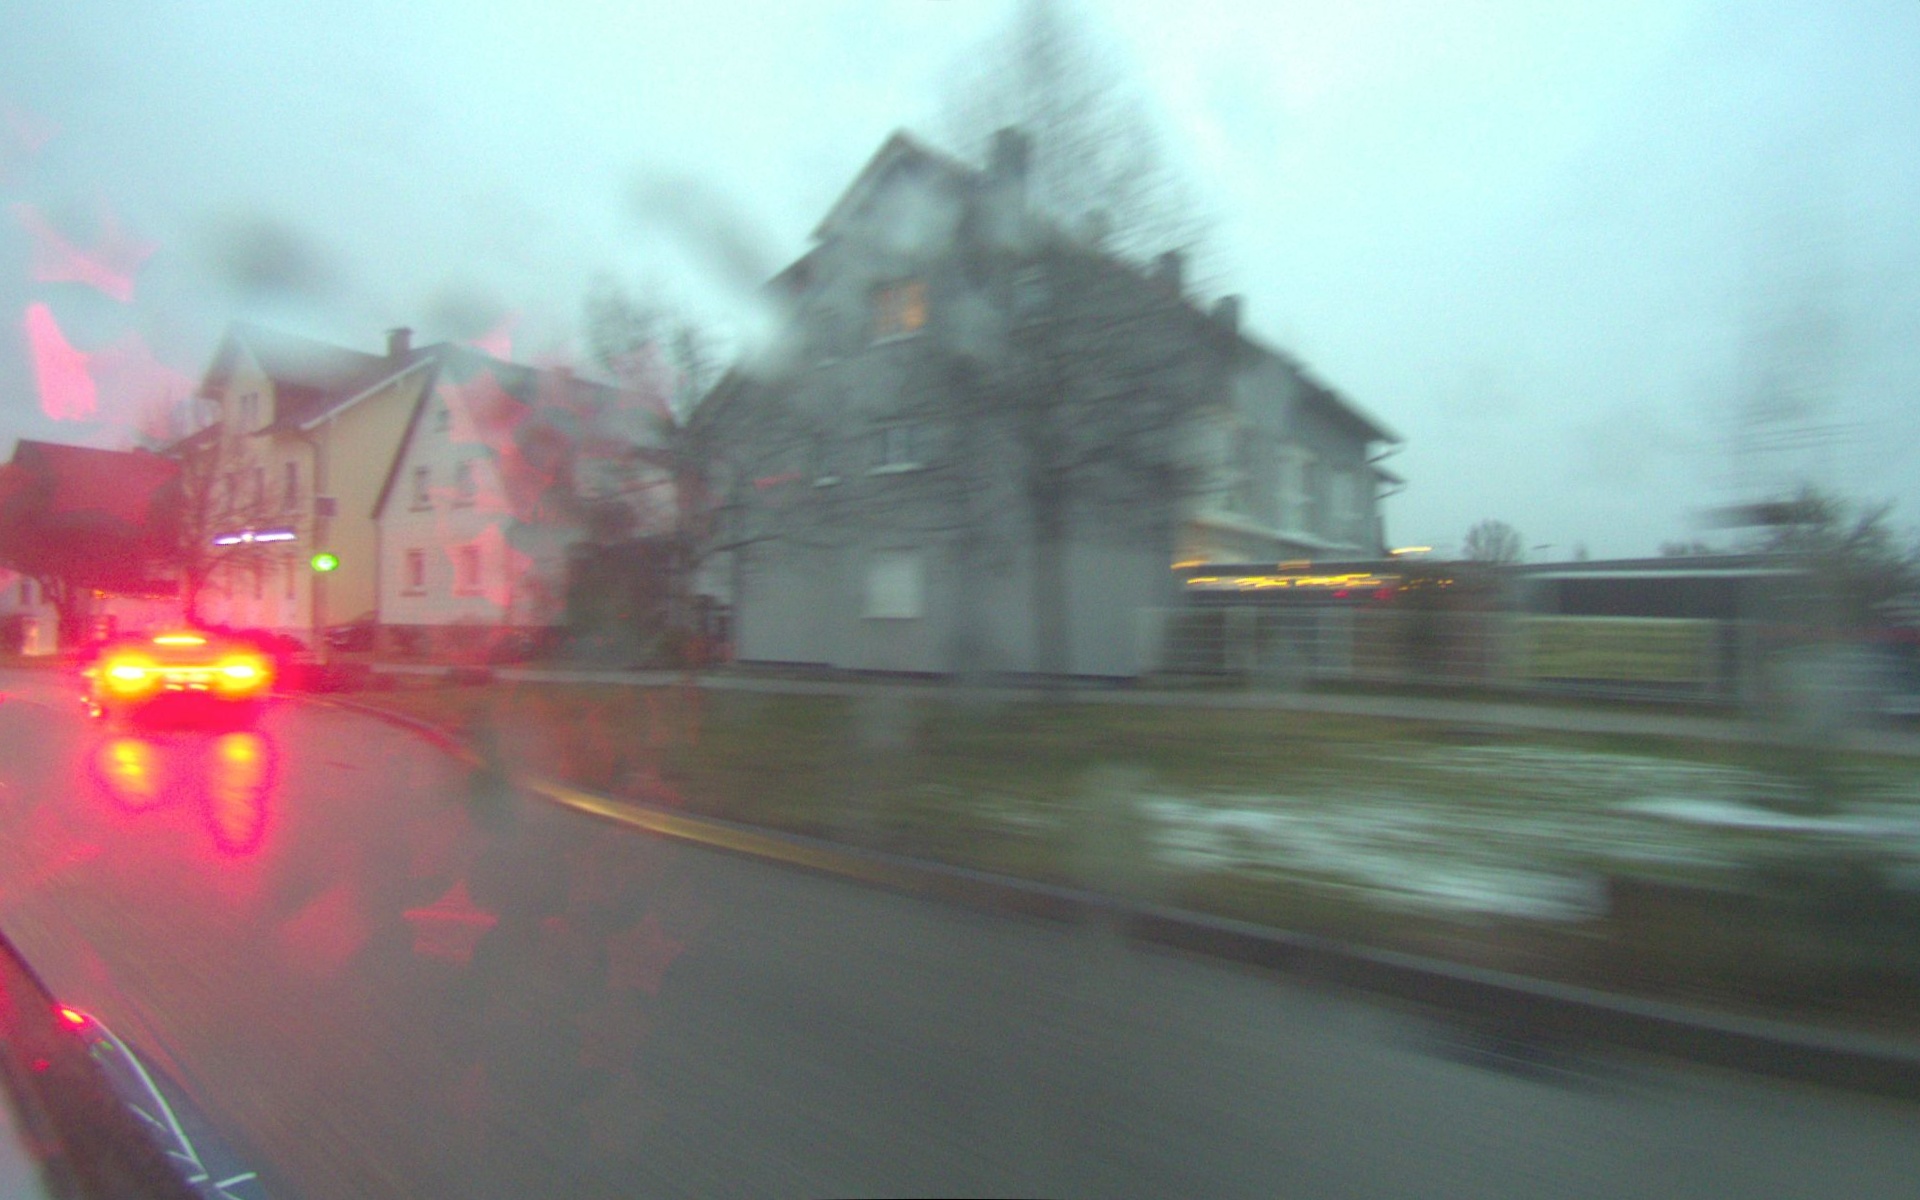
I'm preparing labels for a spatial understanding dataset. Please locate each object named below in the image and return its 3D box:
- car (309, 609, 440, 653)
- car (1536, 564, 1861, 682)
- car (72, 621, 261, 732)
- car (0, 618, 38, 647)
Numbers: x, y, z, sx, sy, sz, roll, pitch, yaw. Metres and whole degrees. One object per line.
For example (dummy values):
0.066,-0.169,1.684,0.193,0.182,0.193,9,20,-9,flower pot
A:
-22.524,1.170,39.092,1.916,1.612,3.956,-1,-2,32,car
11.756,0.353,16.350,3.994,1.663,1.975,-1,0,38,car
-12.687,1.112,16.066,1.884,1.499,4.571,3,-3,-44,car
-48.933,1.657,51.785,3.991,1.376,1.766,0,0,35,car
